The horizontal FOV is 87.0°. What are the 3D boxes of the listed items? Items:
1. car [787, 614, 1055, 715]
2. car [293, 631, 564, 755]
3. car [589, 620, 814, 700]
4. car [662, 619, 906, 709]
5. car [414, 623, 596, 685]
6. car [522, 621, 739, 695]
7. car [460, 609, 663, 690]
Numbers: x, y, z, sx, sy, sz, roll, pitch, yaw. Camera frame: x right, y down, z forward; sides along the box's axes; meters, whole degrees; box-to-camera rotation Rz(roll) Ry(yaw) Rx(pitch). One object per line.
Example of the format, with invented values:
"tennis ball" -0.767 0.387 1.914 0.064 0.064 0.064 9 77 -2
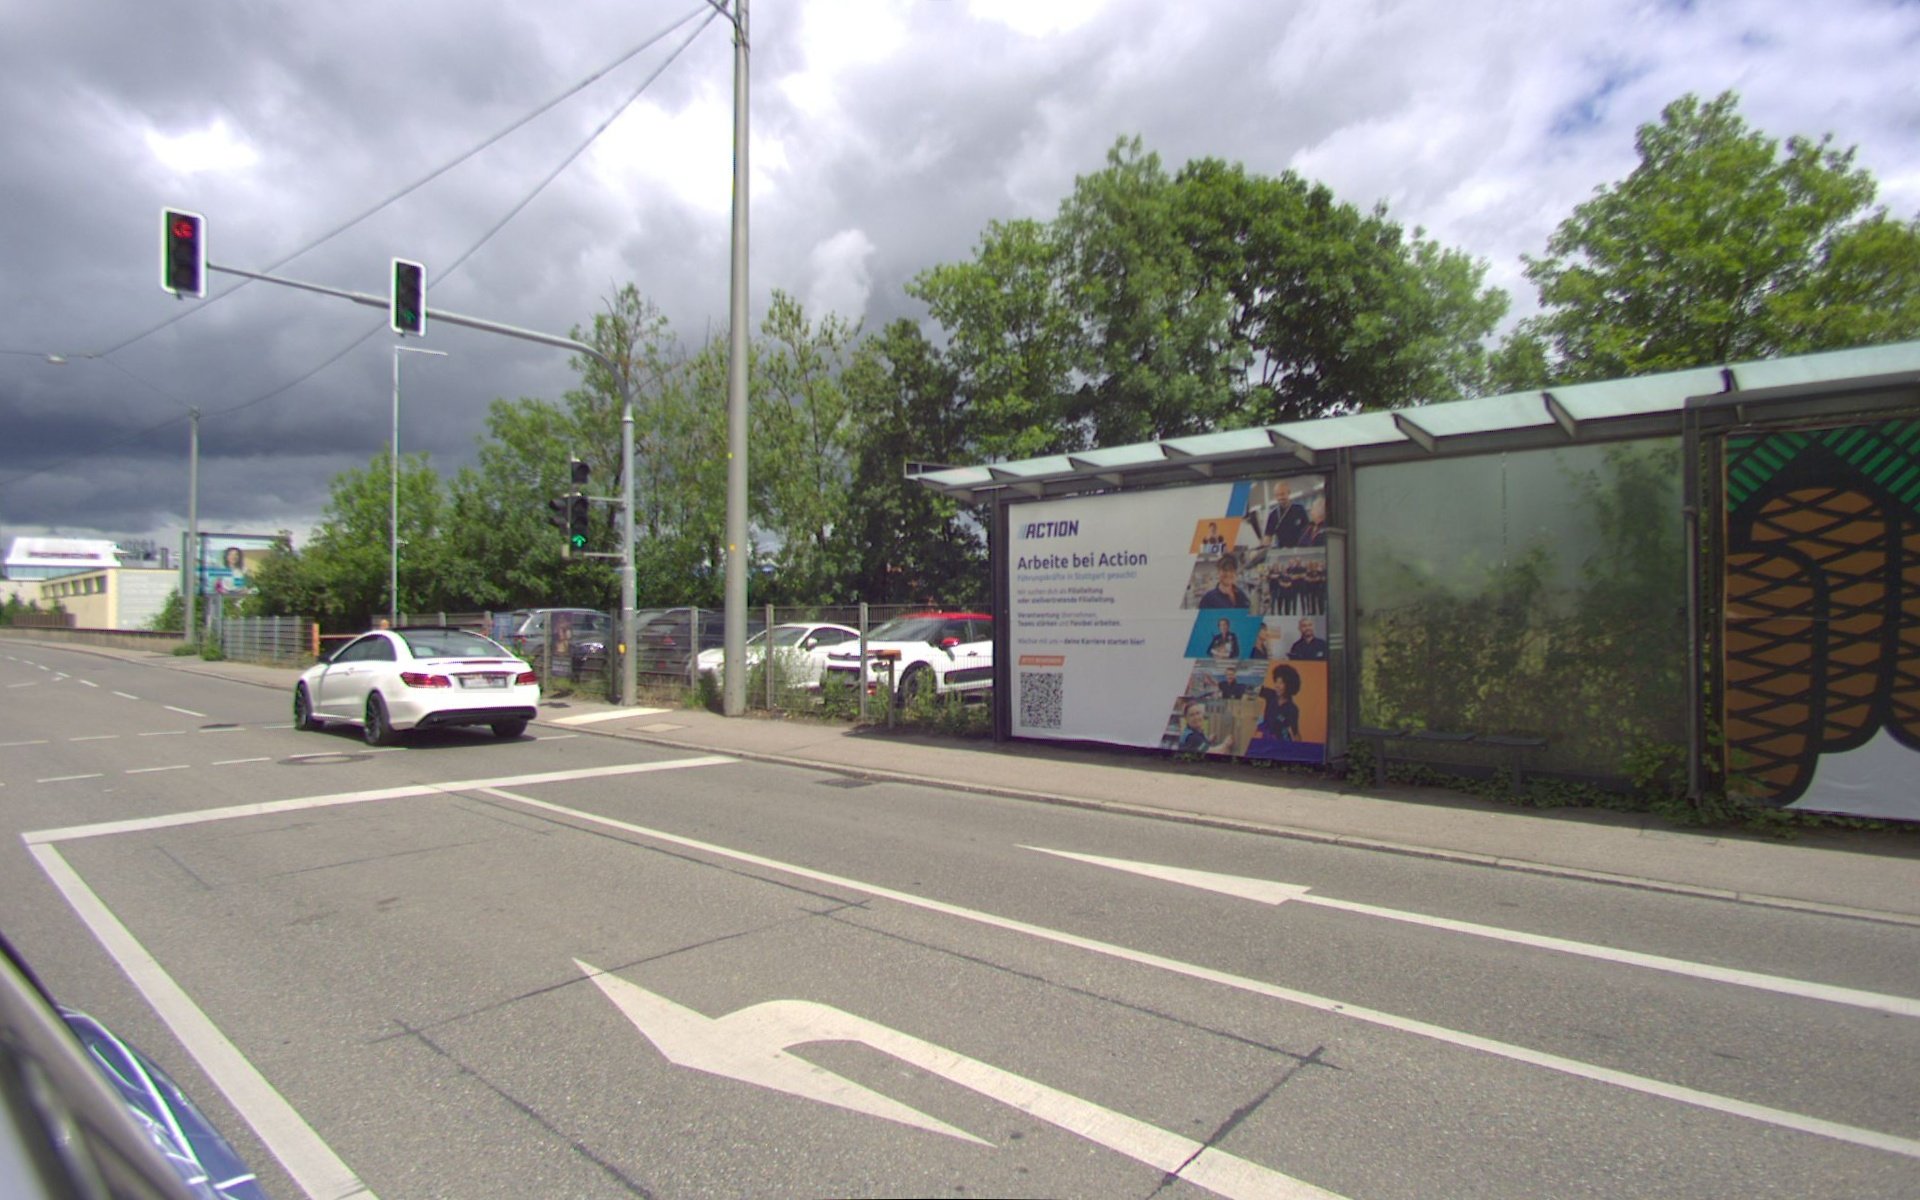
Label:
"car" -0.518 0.960 16.558 2.024 1.430 4.265 -2 -2 42
"car" -7.144 1.122 13.418 4.222 1.387 1.777 -2 -3 41
"car" -5.100 1.133 20.424 1.997 1.430 4.064 -1 -2 37
"car" -3.068 1.060 18.245 1.915 1.430 4.060 -2 -2 41
"car" -11.463 1.308 25.715 1.896 1.430 3.823 -1 -2 32
"car" -7.024 1.183 21.874 1.998 1.430 4.061 -1 -2 39
"car" -9.319 1.115 23.956 1.996 1.748 4.066 -1 -2 36
